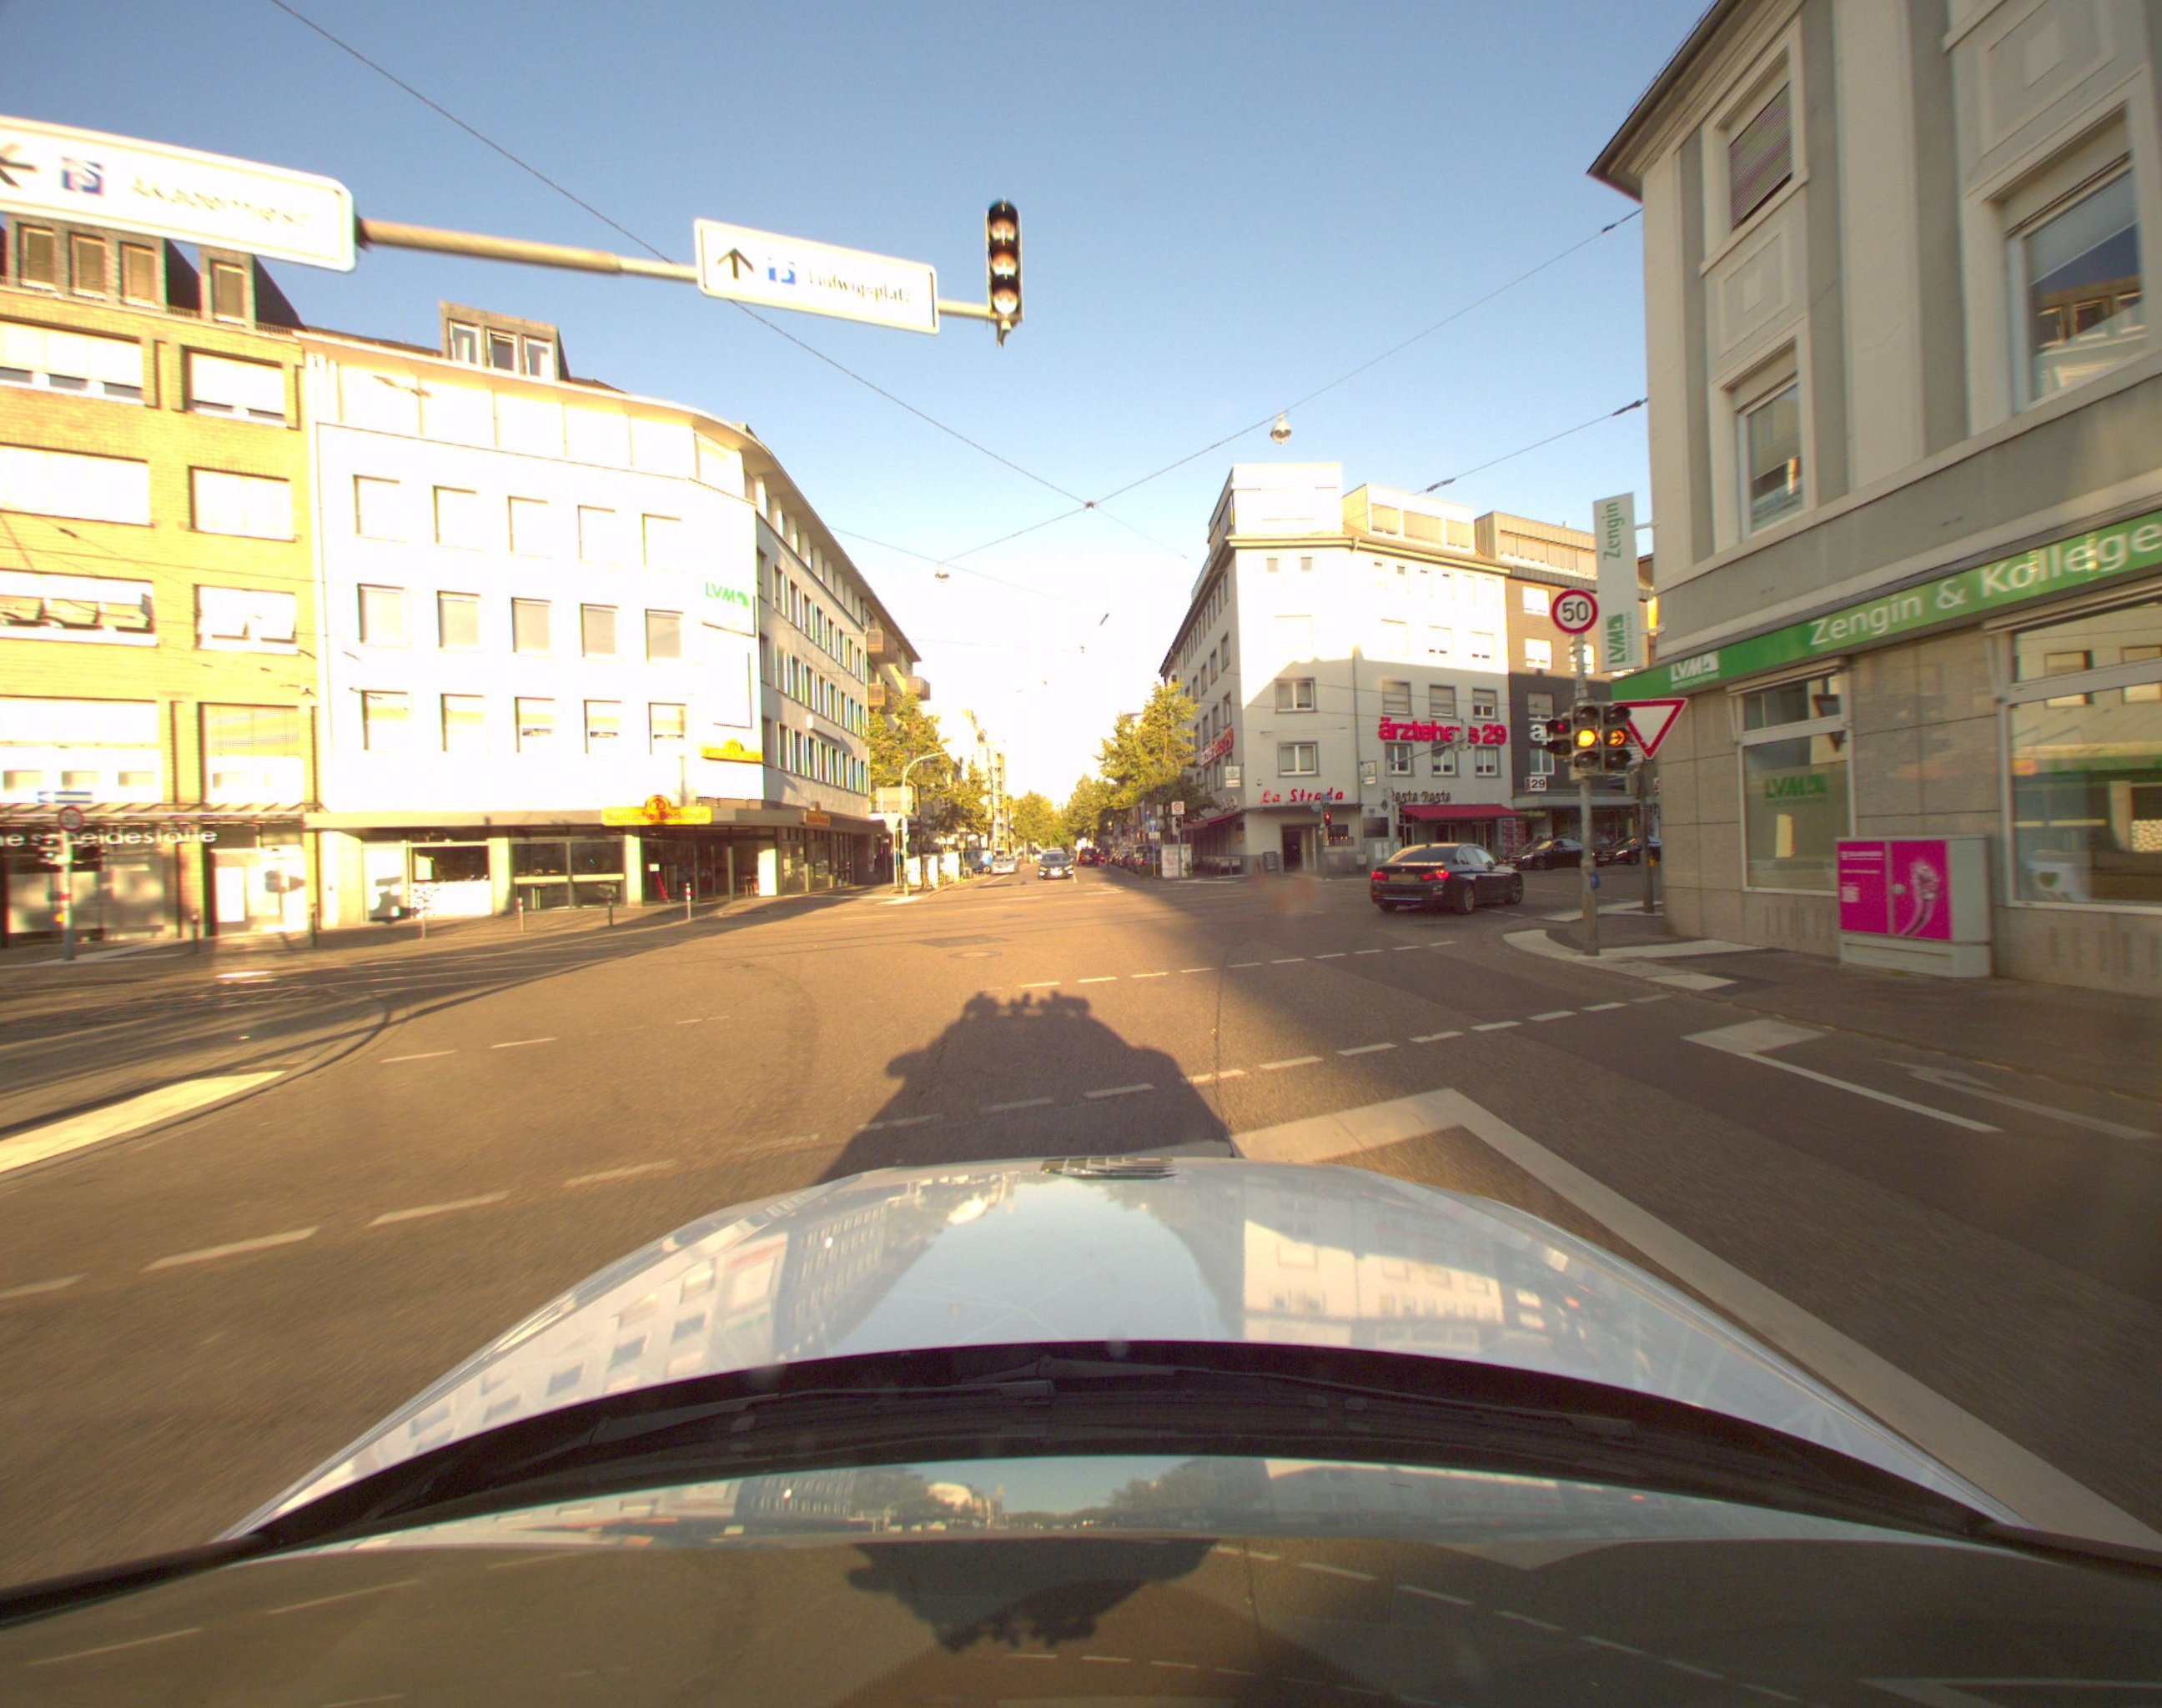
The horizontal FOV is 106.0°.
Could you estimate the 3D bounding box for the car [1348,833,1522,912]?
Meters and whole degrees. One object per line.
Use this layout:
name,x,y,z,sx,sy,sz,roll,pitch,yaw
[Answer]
car,7.647,0.299,17.362,1.975,1.420,4.537,0,1,43
